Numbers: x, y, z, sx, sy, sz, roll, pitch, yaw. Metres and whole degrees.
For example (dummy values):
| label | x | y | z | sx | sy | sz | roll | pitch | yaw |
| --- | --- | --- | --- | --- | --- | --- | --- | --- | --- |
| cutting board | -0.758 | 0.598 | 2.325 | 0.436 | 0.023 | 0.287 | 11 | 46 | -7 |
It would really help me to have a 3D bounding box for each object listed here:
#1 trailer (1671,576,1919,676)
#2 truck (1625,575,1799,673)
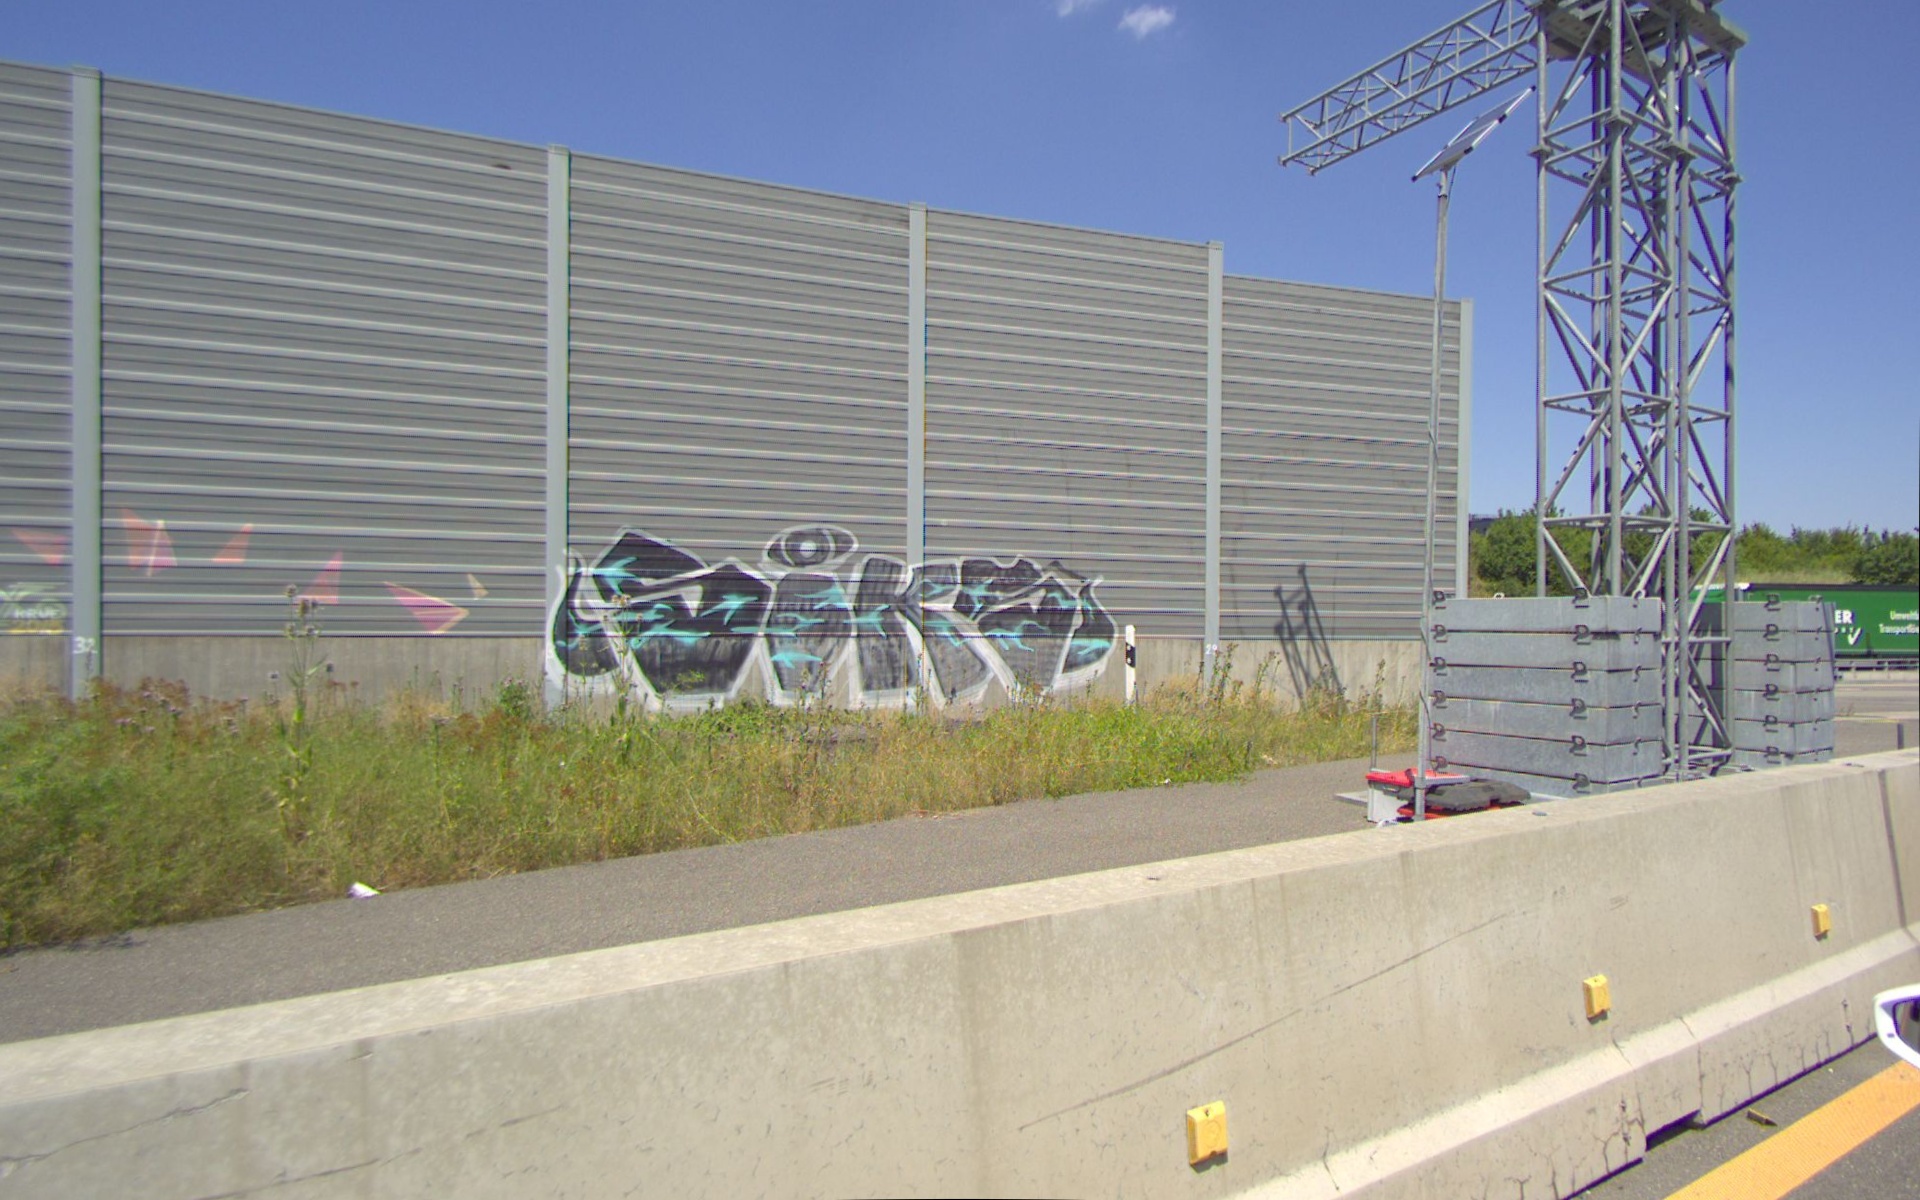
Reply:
| label | x | y | z | sx | sy | sz | roll | pitch | yaw |
| --- | --- | --- | --- | --- | --- | --- | --- | --- | --- |
| trailer | 41.724 | 1.280 | 48.307 | 13.656 | 4.327 | 3.552 | 2 | 0 | -9 |
| truck | 35.242 | 1.102 | 47.239 | 5.674 | 4.327 | 3.552 | 2 | 0 | -9 |
